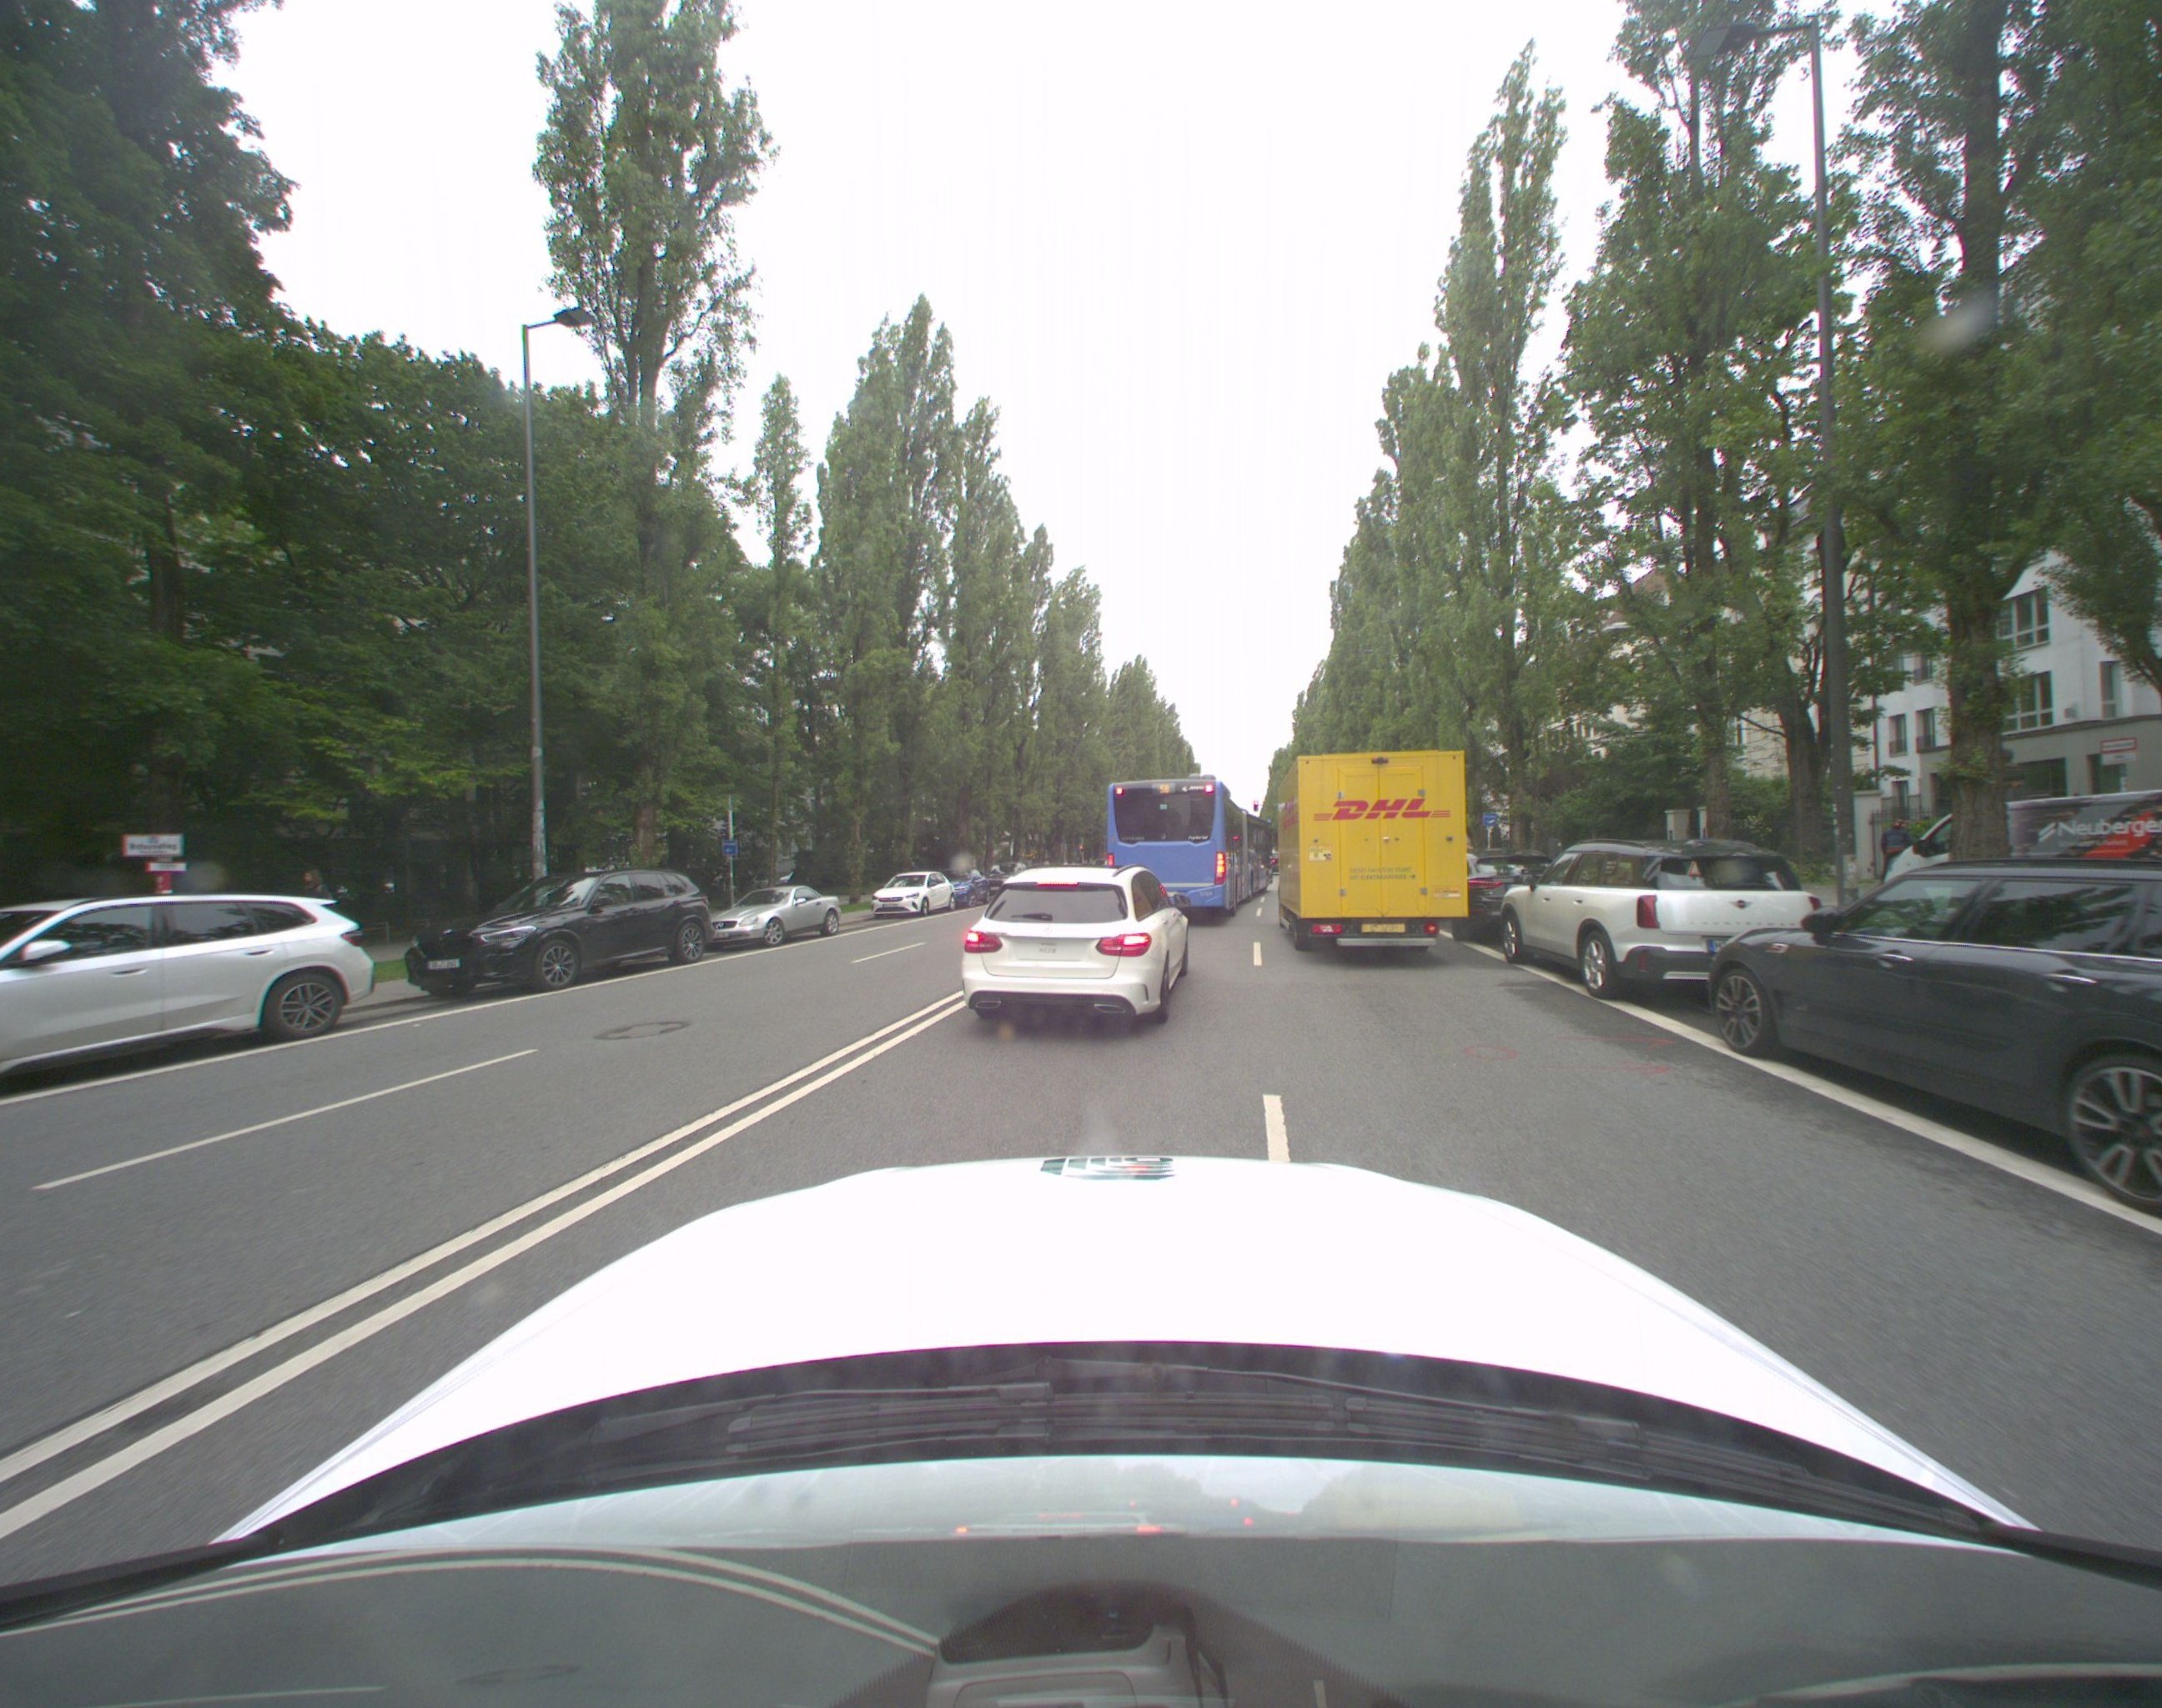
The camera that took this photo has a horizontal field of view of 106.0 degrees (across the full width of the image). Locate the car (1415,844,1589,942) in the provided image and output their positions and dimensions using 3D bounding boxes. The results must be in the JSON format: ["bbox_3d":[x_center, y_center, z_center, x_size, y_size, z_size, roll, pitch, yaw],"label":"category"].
[{"bbox_3d":[7.433,0.616,14.843,1.714,1.495,4.338,-2,0,12],"label":"car"}]

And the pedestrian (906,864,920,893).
[{"bbox_3d":[-10.525,1.529,51.164,0.595,1.739,0.642,-2,-1,11],"label":"pedestrian"}]

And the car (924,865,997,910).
[{"bbox_3d":[-4.610,1.243,31.758,1.734,1.519,4.125,-4,-1,6],"label":"car"}]

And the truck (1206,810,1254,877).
[{"bbox_3d":[9.754,-0.643,53.692,2.699,3.965,9.242,-2,0,9],"label":"truck"}]

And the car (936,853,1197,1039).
[{"bbox_3d":[0.173,0.737,8.790,1.813,1.454,4.597,-1,0,12],"label":"car"}]

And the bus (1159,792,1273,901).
[{"bbox_3d":[5.292,-0.232,30.156,2.850,3.304,9.832,-2,0,17],"label":"bus"}]

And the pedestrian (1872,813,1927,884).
[{"bbox_3d":[22.068,-0.146,21.982,0.927,1.866,0.778,-3,-1,40],"label":"pedestrian"}]

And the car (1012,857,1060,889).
[{"bbox_3d":[-2.309,0.952,42.539,1.530,1.433,3.881,-5,-1,10],"label":"car"}]

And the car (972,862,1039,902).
[{"bbox_3d":[-3.324,1.207,36.927,1.780,1.548,4.351,-5,-1,10],"label":"car"}]

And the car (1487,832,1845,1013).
[{"bbox_3d":[6.214,0.600,9.327,1.769,1.581,4.159,0,0,11],"label":"car"}]

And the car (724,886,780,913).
[{"bbox_3d":[-23.692,3.260,58.800,1.985,1.684,4.271,-2,0,4],"label":"car"}]

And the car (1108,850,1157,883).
[{"bbox_3d":[3.356,0.745,52.170,2.168,1.891,5.715,-4,-1,12],"label":"car"}]

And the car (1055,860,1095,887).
[{"bbox_3d":[-0.329,1.206,51.864,1.697,1.548,4.012,-3,-1,10],"label":"car"}]

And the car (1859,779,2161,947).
[{"bbox_3d":[13.726,0.078,11.041,1.981,1.925,5.340,-2,0,11],"label":"car"}]

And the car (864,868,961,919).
[{"bbox_3d":[-5.551,1.274,27.329,1.674,1.413,4.016,-4,-1,10],"label":"car"}]

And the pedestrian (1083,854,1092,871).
[{"bbox_3d":[0.788,0.975,96.667,0.825,2.013,0.780,-2,-1,9],"label":"pedestrian"}]

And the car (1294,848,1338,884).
[{"bbox_3d":[11.003,0.540,38.314,1.666,1.596,4.100,0,0,12],"label":"car"}]

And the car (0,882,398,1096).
[{"bbox_3d":[-9.386,1.204,7.527,1.773,1.588,4.476,-4,-1,12],"label":"car"}]

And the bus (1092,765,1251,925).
[{"bbox_3d":[2.750,-0.178,21.201,2.835,3.213,9.094,-2,0,14],"label":"bus"}]

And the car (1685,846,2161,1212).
[{"bbox_3d":[5.355,0.698,4.503,1.623,1.446,4.161,0,0,11],"label":"car"}]

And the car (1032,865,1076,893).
[{"bbox_3d":[-1.509,1.422,47.480,1.664,1.413,4.012,-3,-1,10],"label":"car"}]

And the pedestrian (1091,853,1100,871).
[{"bbox_3d":[1.711,0.951,96.741,0.825,2.013,0.780,-2,-1,9],"label":"pedestrian"}]

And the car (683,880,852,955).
[{"bbox_3d":[-6.990,1.372,18.648,1.570,1.304,4.042,-4,-1,12],"label":"car"}]

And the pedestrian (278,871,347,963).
[{"bbox_3d":[-15.770,1.266,16.719,0.636,1.815,0.778,-2,-1,11],"label":"pedestrian"}]

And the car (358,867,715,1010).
[{"bbox_3d":[-8.219,1.161,13.006,1.868,1.658,4.732,-5,-1,10],"label":"car"}]

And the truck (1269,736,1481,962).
[{"bbox_3d":[4.660,-0.038,14.291,2.312,2.898,7.355,-2,0,11],"label":"truck"}]
